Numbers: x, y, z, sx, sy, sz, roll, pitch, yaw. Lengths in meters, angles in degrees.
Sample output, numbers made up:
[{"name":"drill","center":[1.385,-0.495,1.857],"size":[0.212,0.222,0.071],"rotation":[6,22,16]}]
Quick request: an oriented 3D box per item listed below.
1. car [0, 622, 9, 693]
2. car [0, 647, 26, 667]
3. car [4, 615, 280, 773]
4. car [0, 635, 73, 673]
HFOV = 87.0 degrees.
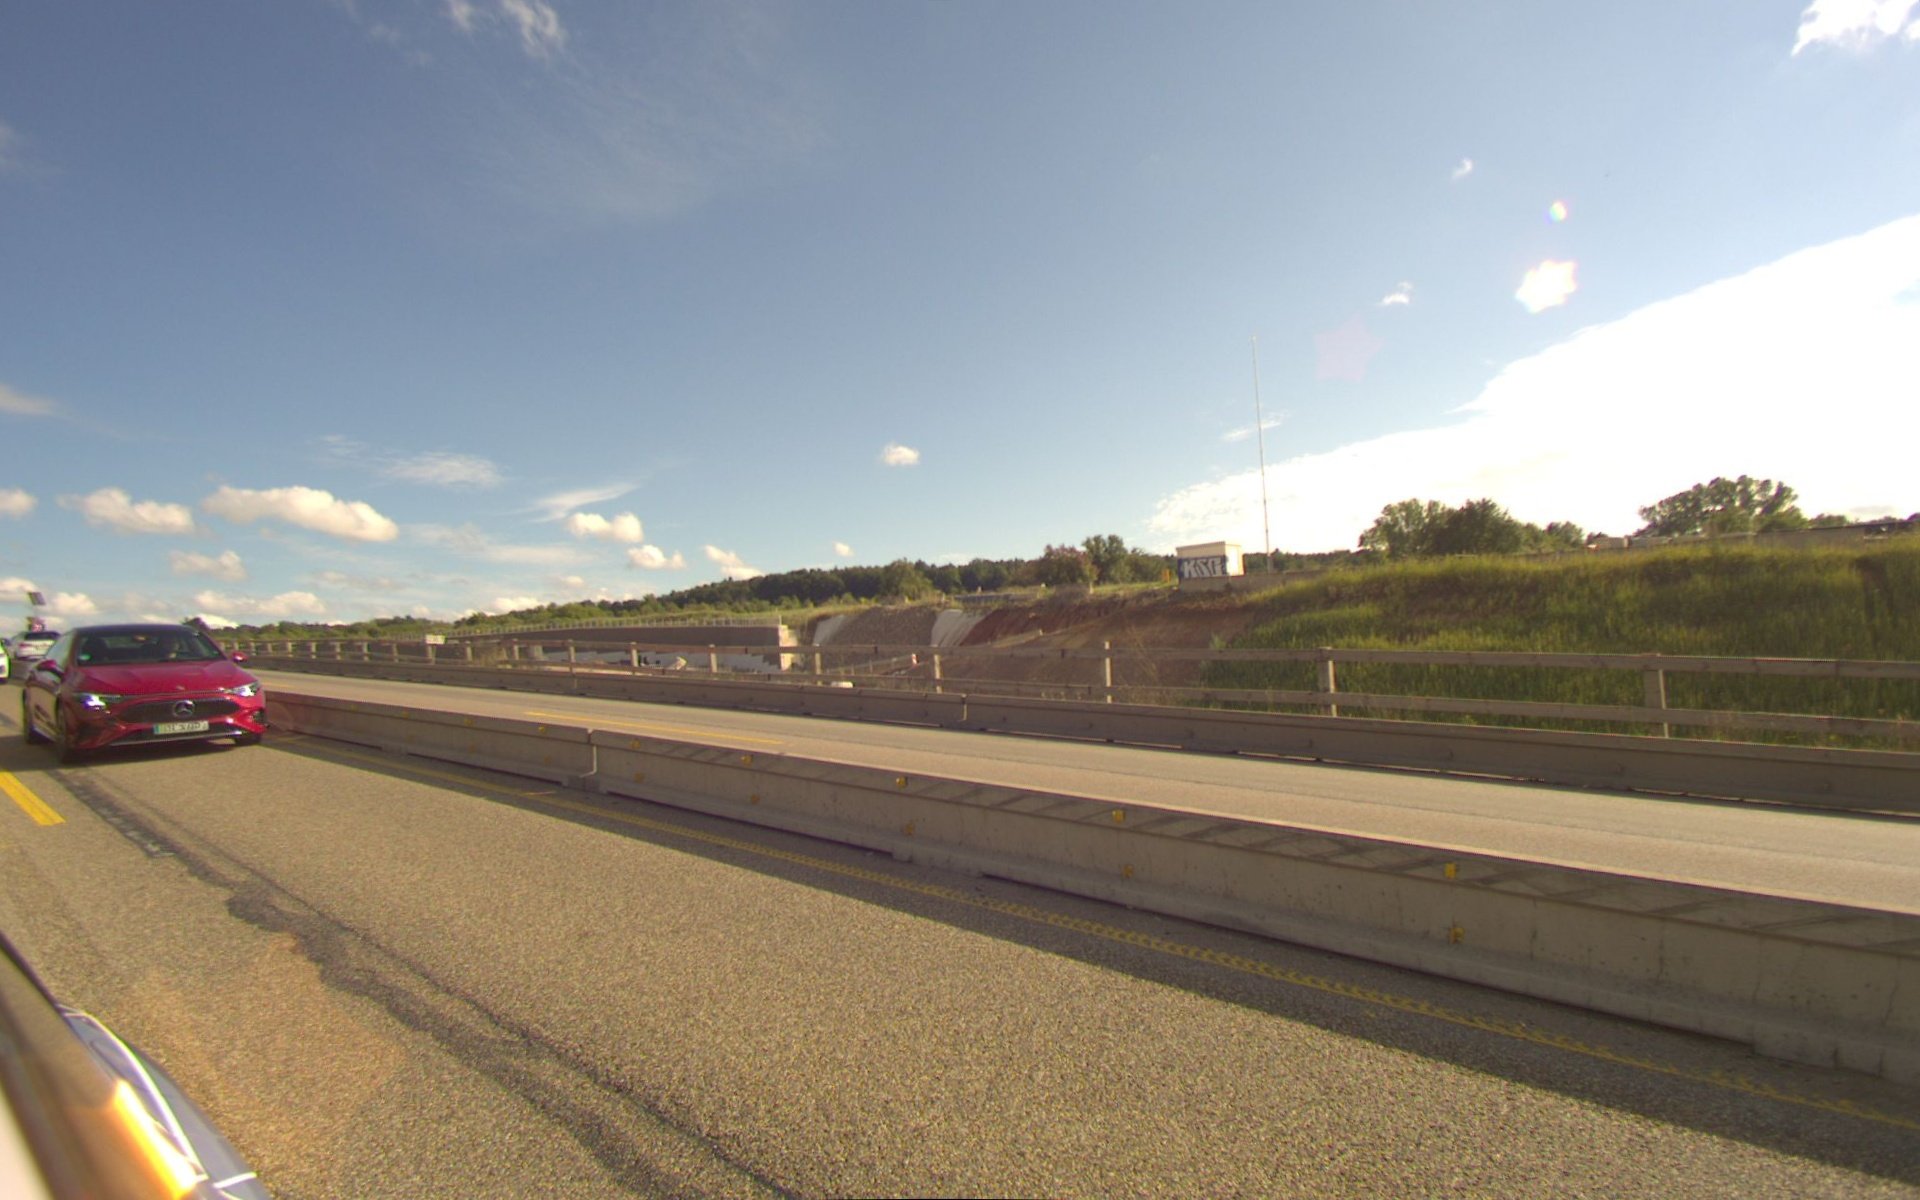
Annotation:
[{"name":"car","center":[-27.368,1.583,27.477],"size":[4.454,1.837,1.804],"rotation":[-2,0,41]},{"name":"car","center":[-77.792,4.635,82.671],"size":[3.999,1.503,1.803],"rotation":[-2,-3,42]},{"name":"car","center":[-10.009,1.000,12.239],"size":[4.682,1.503,1.804],"rotation":[-2,0,41]},{"name":"car","center":[-38.249,2.191,41.843],"size":[3.997,1.503,1.804],"rotation":[-2,-3,41]}]
